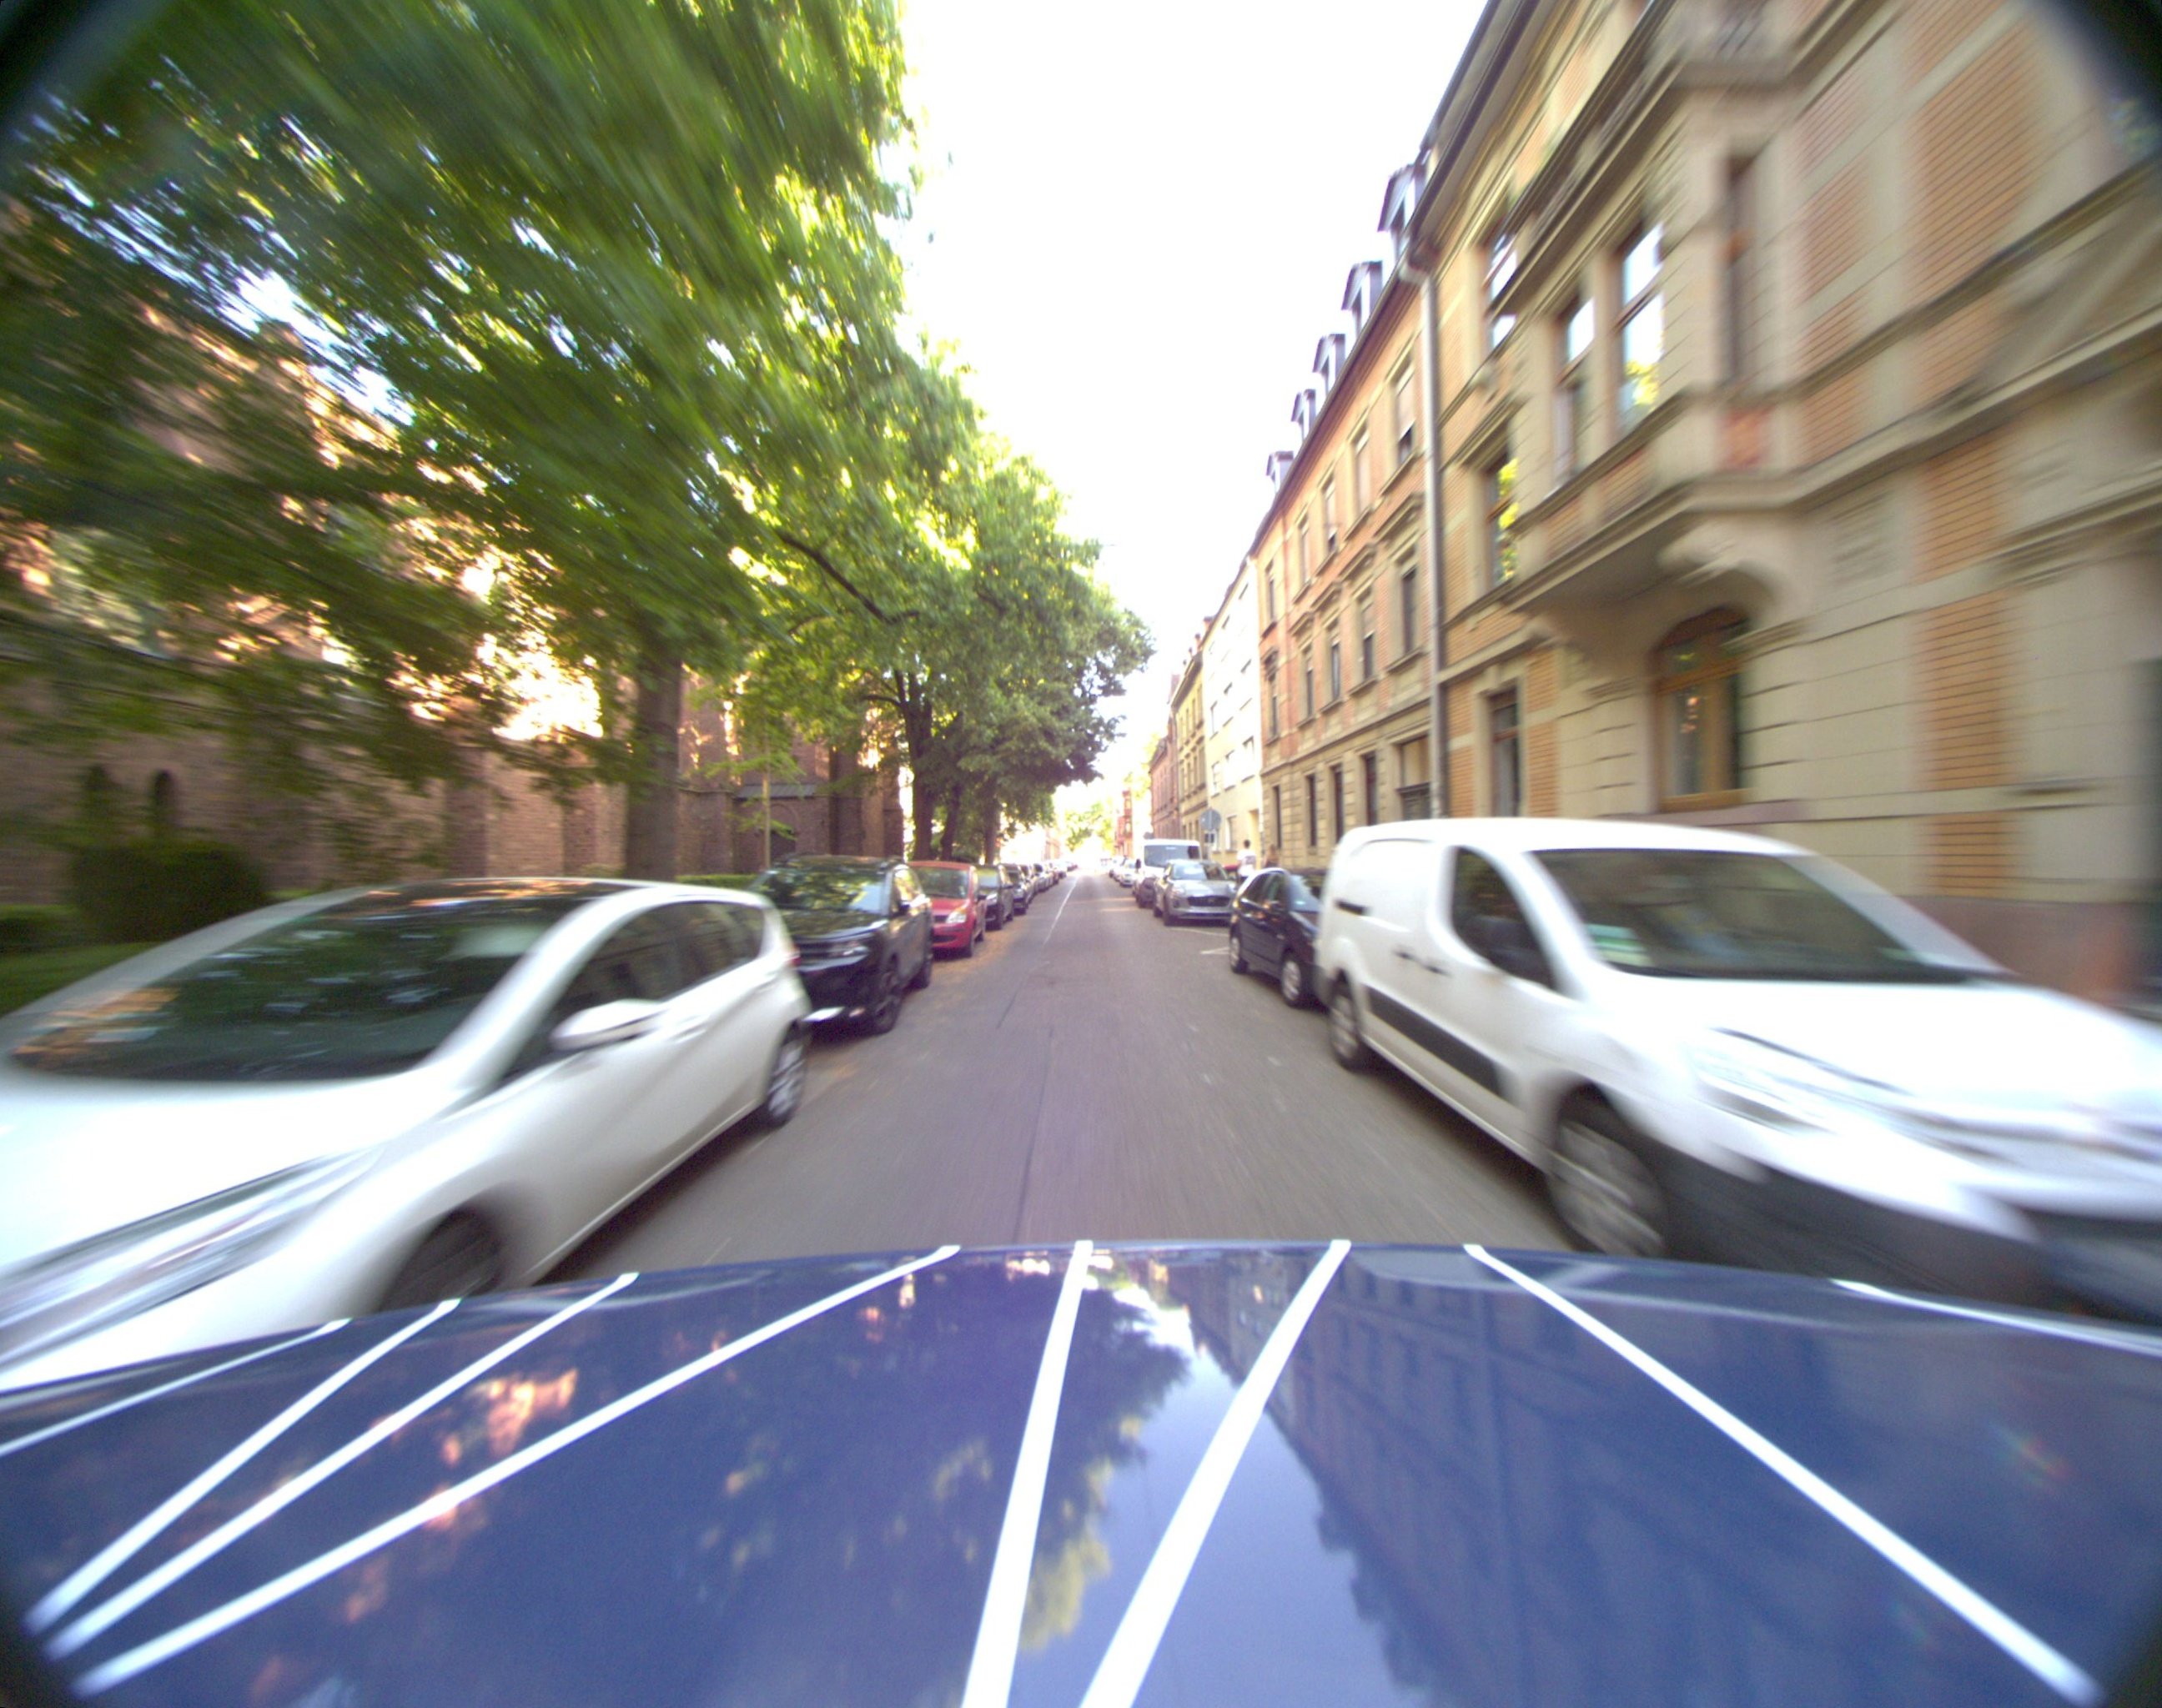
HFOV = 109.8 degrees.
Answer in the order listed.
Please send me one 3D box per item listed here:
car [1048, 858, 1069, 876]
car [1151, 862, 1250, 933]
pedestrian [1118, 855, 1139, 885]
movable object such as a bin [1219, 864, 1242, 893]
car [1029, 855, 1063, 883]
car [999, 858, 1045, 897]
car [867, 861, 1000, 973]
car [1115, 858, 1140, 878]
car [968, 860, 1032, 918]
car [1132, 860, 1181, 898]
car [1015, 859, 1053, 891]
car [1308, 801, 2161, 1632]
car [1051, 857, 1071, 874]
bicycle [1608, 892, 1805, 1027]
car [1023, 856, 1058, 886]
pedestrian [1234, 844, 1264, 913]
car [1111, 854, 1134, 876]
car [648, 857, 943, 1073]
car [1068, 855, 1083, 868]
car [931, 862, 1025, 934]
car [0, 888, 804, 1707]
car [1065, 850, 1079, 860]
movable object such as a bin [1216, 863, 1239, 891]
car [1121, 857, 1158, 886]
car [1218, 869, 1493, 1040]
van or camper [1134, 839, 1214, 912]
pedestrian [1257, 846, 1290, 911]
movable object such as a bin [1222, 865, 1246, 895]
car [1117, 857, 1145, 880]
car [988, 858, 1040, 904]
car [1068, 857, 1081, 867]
[{"bbox_3d":[-1.858,1.062,63.789,1.625,1.428,4.002,0,1,-1],"label":"car"},{"bbox_3d":[2.805,0.969,18.763,1.771,1.505,4.193,1,0,0],"label":"car"},{"bbox_3d":[2.933,0.994,46.938,1.112,1.792,0.490,-4,1,26],"label":"pedestrian"},{"bbox_3d":[5.879,0.956,29.851,0.802,1.082,0.666,-1,2,5],"label":"movable object such as a bin"},{"bbox_3d":[-2.184,0.920,47.891,1.668,1.577,4.100,3,1,3],"label":"car"},{"bbox_3d":[-2.559,1.002,33.639,1.603,1.459,3.563,3,1,1],"label":"car"},{"bbox_3d":[-2.560,1.021,14.048,1.623,1.615,3.863,3,1,0],"label":"car"},{"bbox_3d":[3.448,1.012,56.789,1.713,1.409,3.803,1,1,2],"label":"car"},{"bbox_3d":[-2.427,1.009,23.769,1.680,1.433,4.693,3,1,-3],"label":"car"},{"bbox_3d":[3.054,0.973,31.390,1.735,1.394,4.316,1,0,2],"label":"car"},{"bbox_3d":[-2.331,1.007,38.434,1.603,1.462,3.869,1,1,1],"label":"car"},{"bbox_3d":[2.761,0.796,3.927,1.835,1.801,4.572,1,0,1],"label":"car"},{"bbox_3d":[-1.807,1.027,69.159,1.713,1.511,3.831,0,1,-1],"label":"car"},{"bbox_3d":[5.838,0.935,7.213,0.572,1.035,1.546,-3,0,1],"label":"bicycle"},{"bbox_3d":[-2.258,0.936,43.191,1.603,1.496,3.720,3,1,1],"label":"car"},{"bbox_3d":[4.689,0.656,21.262,0.580,1.872,0.904,-2,2,1],"label":"pedestrian"},{"bbox_3d":[3.415,0.904,62.935,1.713,1.664,4.278,1,1,2],"label":"car"},{"bbox_3d":[-2.689,0.916,8.277,1.744,1.594,4.262,3,1,-3],"label":"car"},{"bbox_3d":[-0.661,1.002,98.415,1.845,1.643,4.000,0,0,1],"label":"car"},{"bbox_3d":[-2.482,1.019,19.135,1.622,1.478,3.776,3,1,3],"label":"car"},{"bbox_3d":[-2.632,1.022,3.026,1.723,1.562,3.827,-1,0,-2],"label":"car"},{"bbox_3d":[-1.470,0.140,123.862,1.998,1.659,4.001,-1,0,2],"label":"car"},{"bbox_3d":[5.915,0.926,30.687,0.838,1.082,0.675,-1,2,4],"label":"movable object such as a bin"},{"bbox_3d":[3.154,0.929,41.847,1.735,1.447,4.521,1,0,1],"label":"car"},{"bbox_3d":[2.902,0.973,9.024,1.697,1.505,3.972,1,0,-2],"label":"car"},{"bbox_3d":[2.924,0.635,25.063,2.182,2.135,5.155,1,0,2],"label":"van or camper"},{"bbox_3d":[5.376,0.682,21.242,0.703,1.761,0.649,-2,2,1],"label":"pedestrian"},{"bbox_3d":[5.850,1.000,29.001,0.802,1.082,0.666,-1,2,5],"label":"movable object such as a bin"},{"bbox_3d":[3.387,0.964,52.067,1.713,1.409,3.803,1,1,2],"label":"car"},{"bbox_3d":[-2.502,0.959,28.920,1.603,1.496,3.627,3,1,0],"label":"car"},{"bbox_3d":[-1.165,1.312,129.853,1.998,1.659,4.001,-1,0,2],"label":"car"}]
